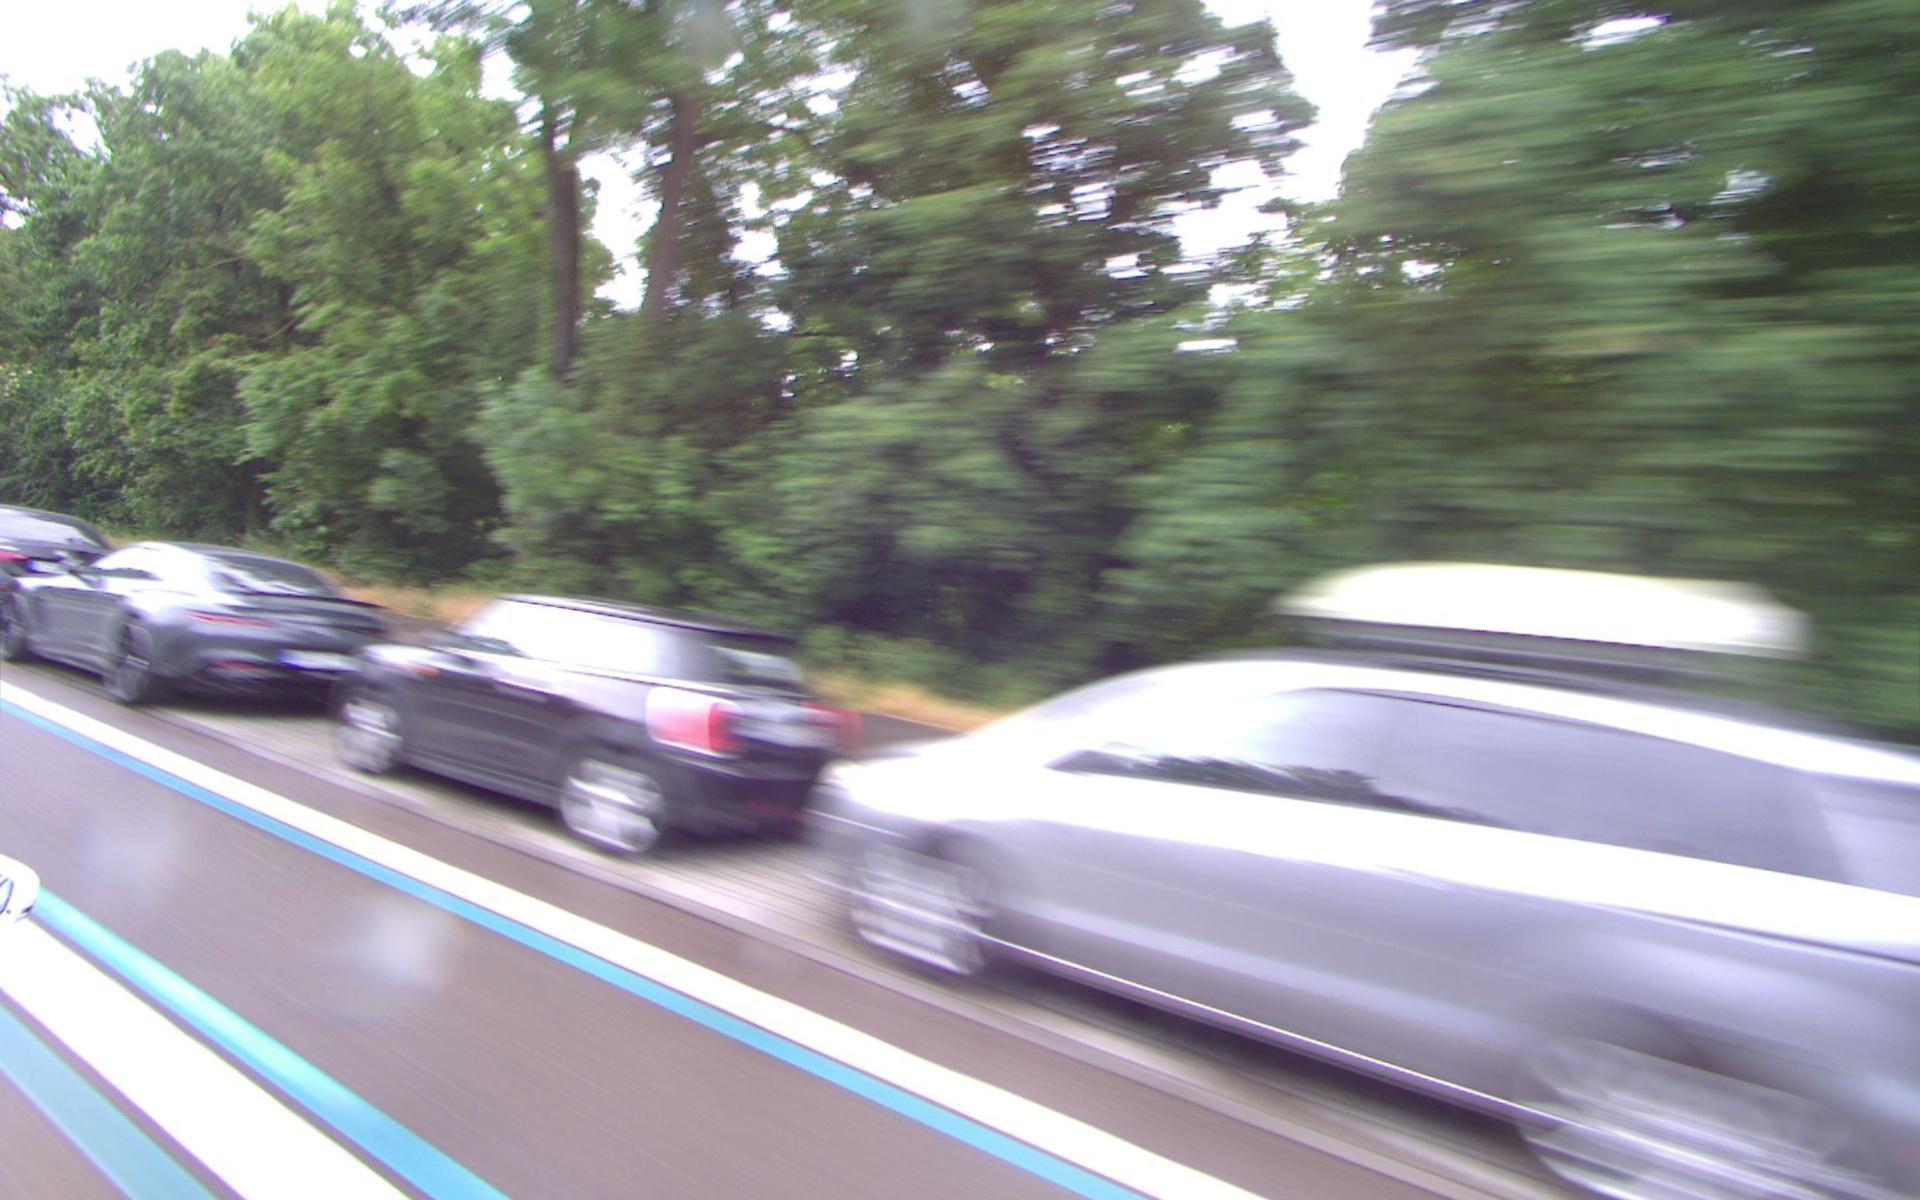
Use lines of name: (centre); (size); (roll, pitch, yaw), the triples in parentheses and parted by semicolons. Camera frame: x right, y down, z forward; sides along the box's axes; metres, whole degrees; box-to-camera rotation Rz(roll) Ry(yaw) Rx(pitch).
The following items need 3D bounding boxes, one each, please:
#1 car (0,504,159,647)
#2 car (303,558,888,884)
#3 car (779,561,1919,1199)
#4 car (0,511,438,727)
car: (-12.366, -0.485, 12.850); (4.673, 1.472, 1.859); (7, -2, 33)
car: (-2.550, 0.690, 6.912); (3.641, 1.428, 1.702); (7, -3, 30)
car: (1.508, 0.942, 4.407); (4.180, 1.632, 1.827); (7, -3, 30)
car: (-7.167, 0.144, 9.480); (4.311, 1.415, 1.858); (7, -3, 30)
